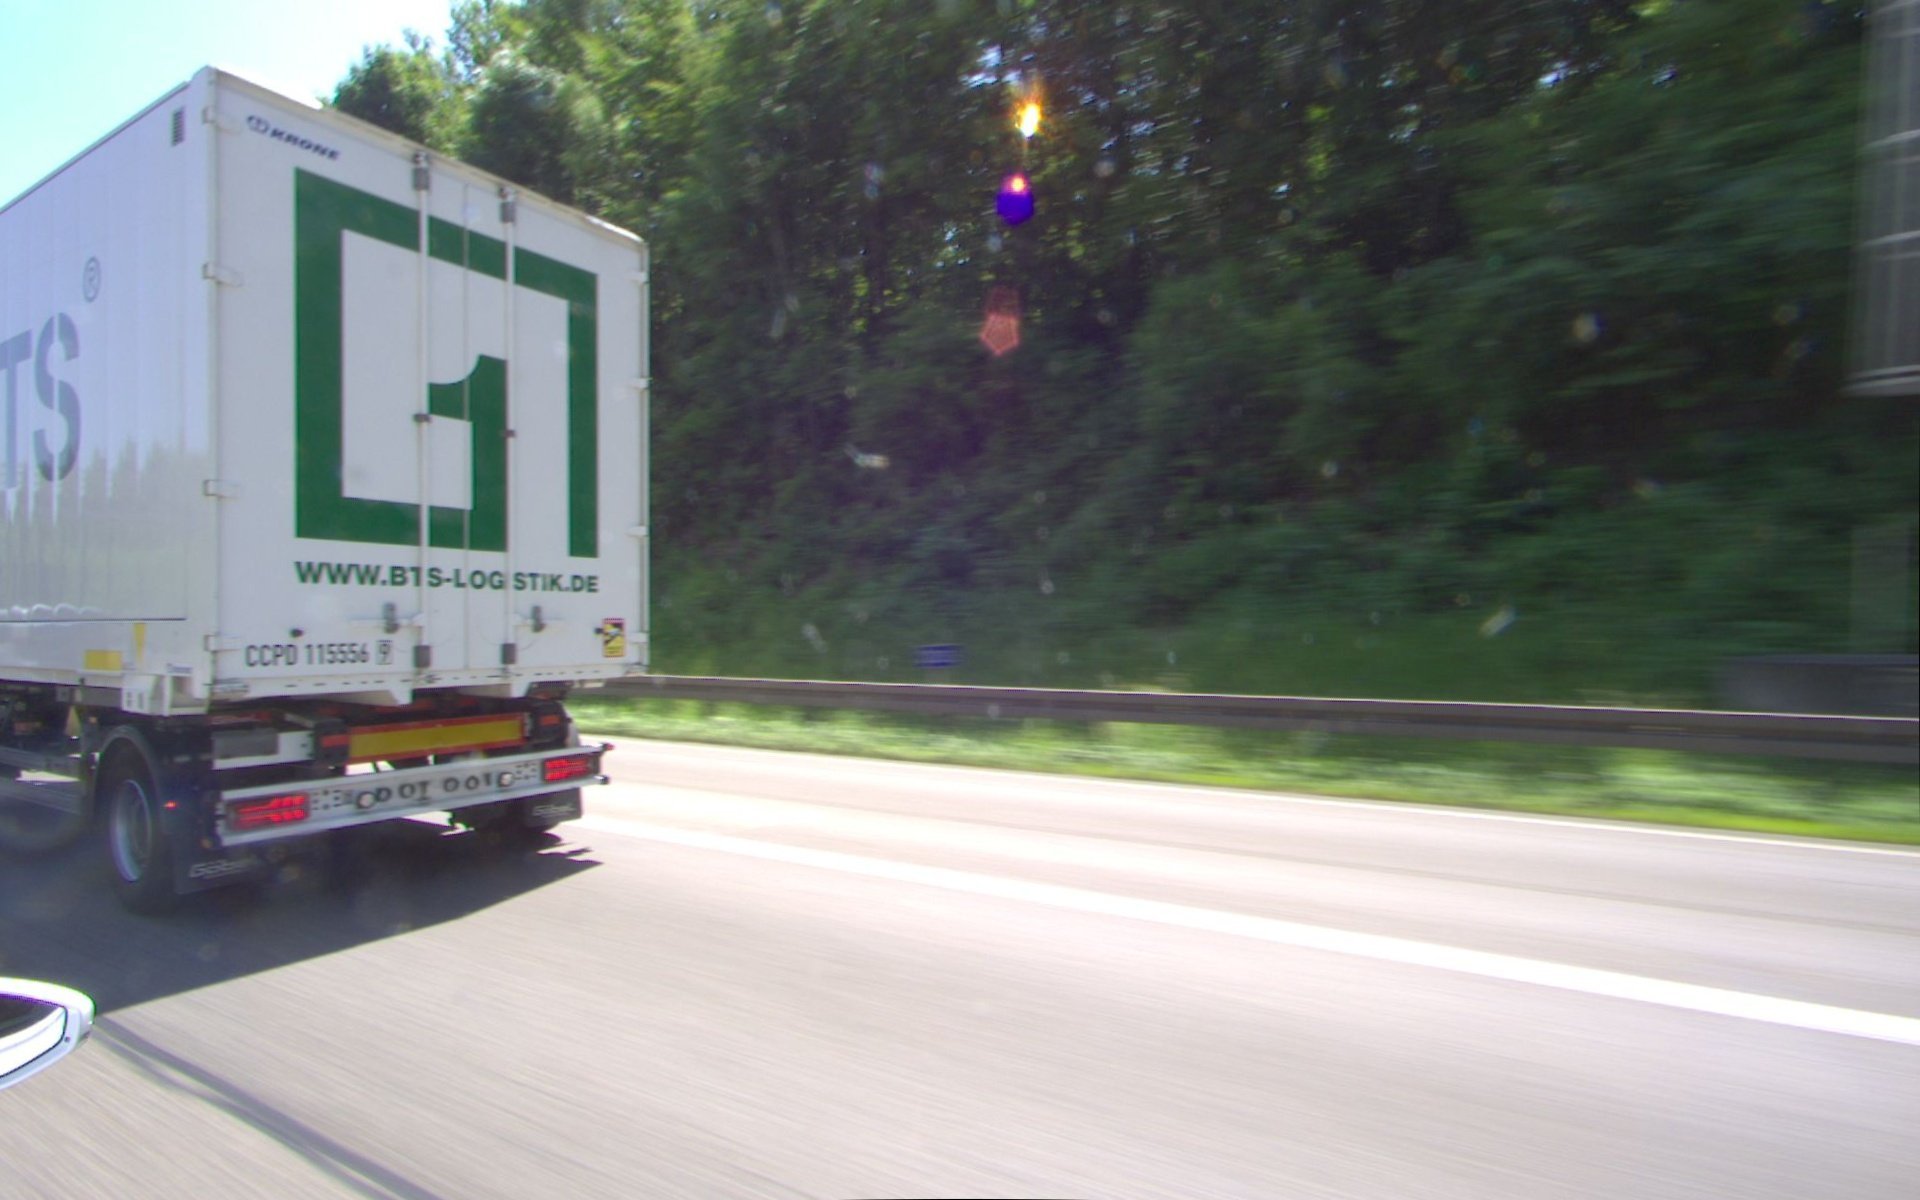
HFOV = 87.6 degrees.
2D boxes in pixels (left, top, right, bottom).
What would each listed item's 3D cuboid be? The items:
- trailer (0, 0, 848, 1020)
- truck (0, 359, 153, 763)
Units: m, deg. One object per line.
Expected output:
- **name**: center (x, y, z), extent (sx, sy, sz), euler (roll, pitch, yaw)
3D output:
- **trailer**: center (-5.552, -0.502, 7.463), extent (9.921, 4.230, 2.675), euler (-1, -1, 32)
- **truck**: center (-14.188, -0.338, 12.996), extent (10.475, 4.112, 2.674), euler (-1, -1, 33)
